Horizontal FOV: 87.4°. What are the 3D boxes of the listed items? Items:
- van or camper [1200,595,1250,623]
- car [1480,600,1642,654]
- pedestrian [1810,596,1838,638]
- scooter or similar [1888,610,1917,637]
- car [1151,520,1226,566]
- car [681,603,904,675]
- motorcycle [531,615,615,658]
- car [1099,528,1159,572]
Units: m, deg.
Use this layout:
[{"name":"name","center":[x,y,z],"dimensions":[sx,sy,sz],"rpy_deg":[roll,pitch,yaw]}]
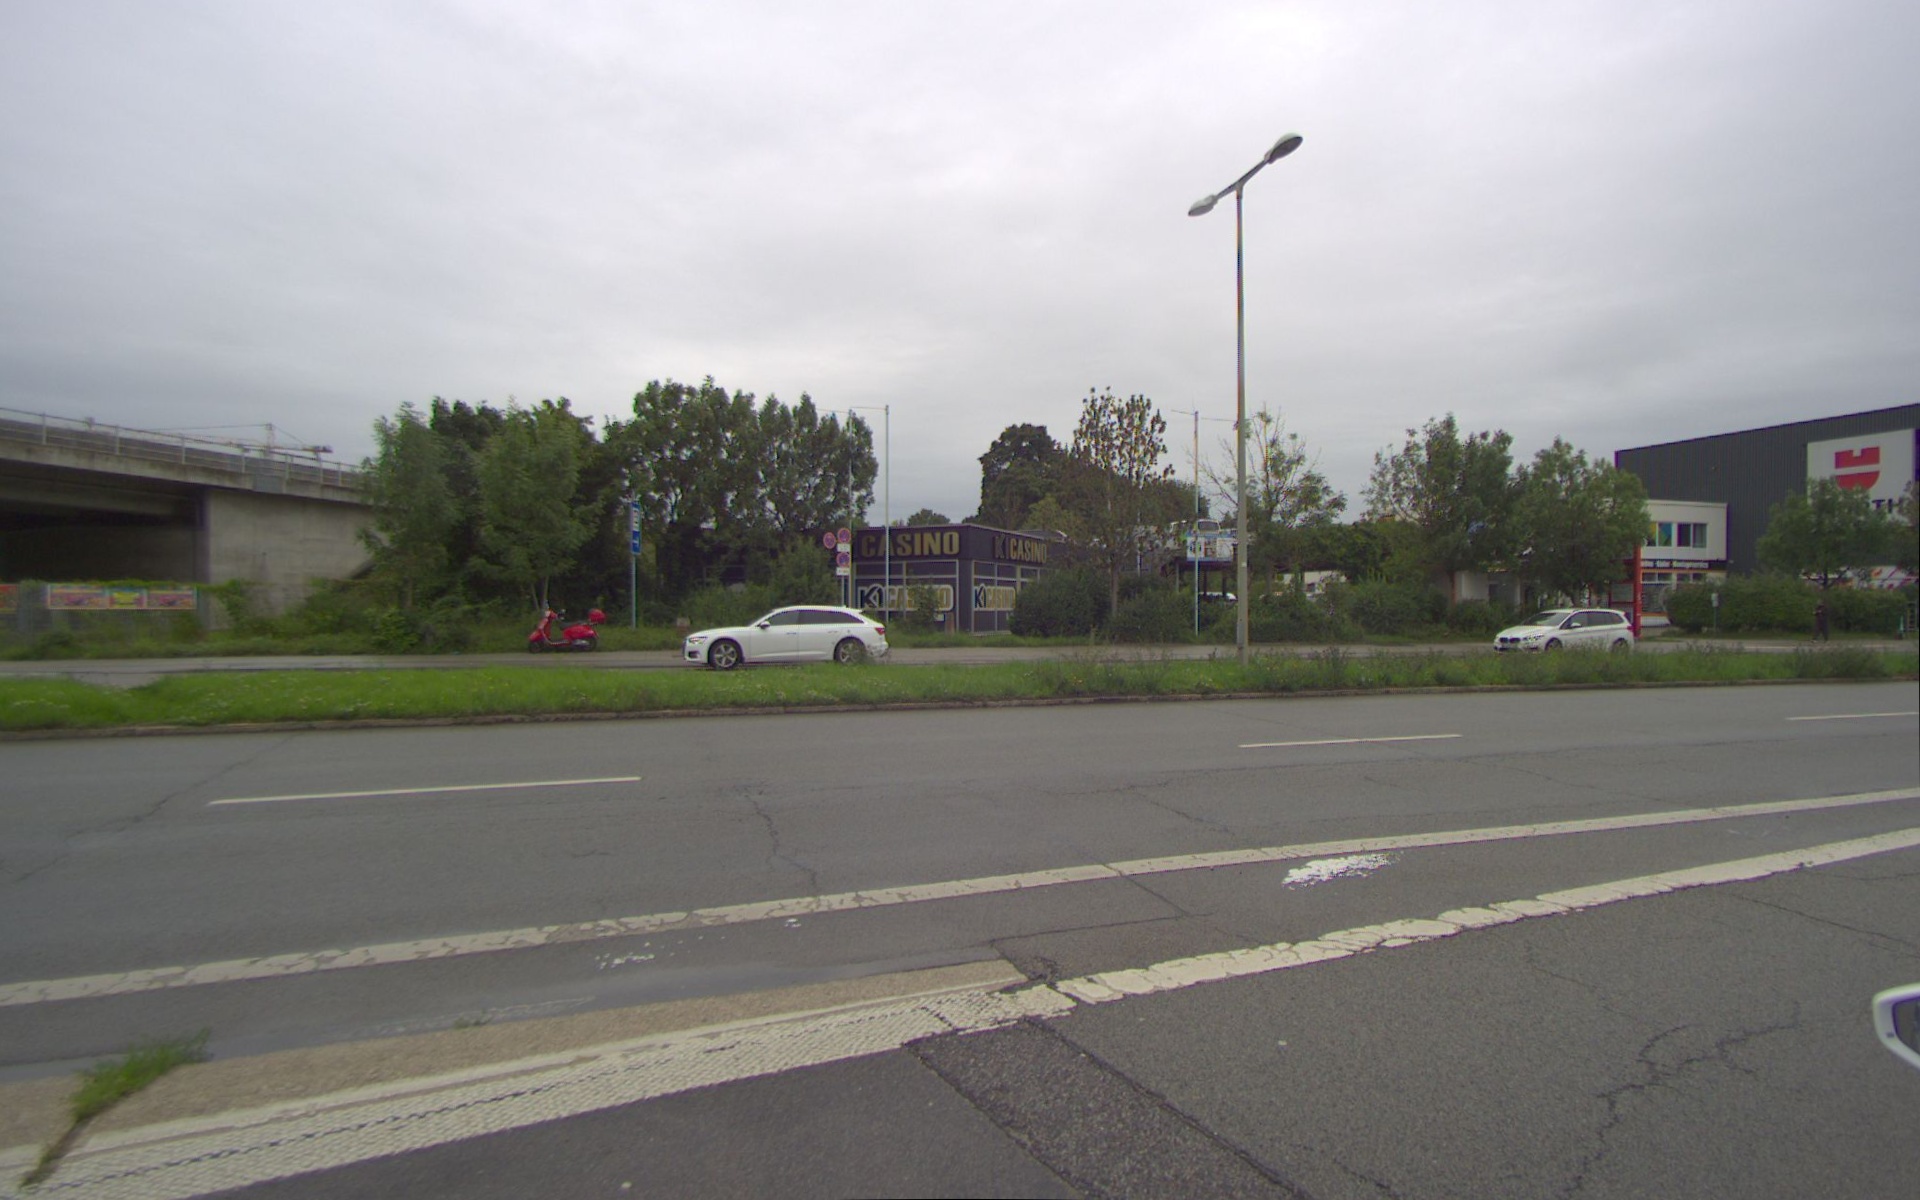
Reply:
[{"name":"van or camper","center":[25.473,0.858,96.690],"dimensions":[1.972,2.610,4.996],"rpy_deg":[0,0,-24]},{"name":"car","center":[18.908,0.844,31.622],"dimensions":[4.503,1.593,1.992],"rpy_deg":[1,-1,-19]},{"name":"pedestrian","center":[37.914,0.740,44.066],"dimensions":[0.804,1.854,0.622],"rpy_deg":[0,0,-19]},{"name":"scooter or similar","center":[44.038,1.084,46.953],"dimensions":[1.366,1.244,0.444],"rpy_deg":[0,0,-21]},{"name":"car","center":[13.217,-3.243,58.387],"dimensions":[2.101,2.039,4.781],"rpy_deg":[3,-3,-18]},{"name":"car","center":[-4.021,0.907,24.066],"dimensions":[5.039,1.593,1.992],"rpy_deg":[1,-1,-19]},{"name":"motorcycle","center":[-10.762,1.009,27.997],"dimensions":[2.162,1.192,0.533],"rpy_deg":[0,-1,-20]},{"name":"car","center":[11.492,-3.380,68.710],"dimensions":[2.101,2.400,4.781],"rpy_deg":[3,-3,-18]}]
